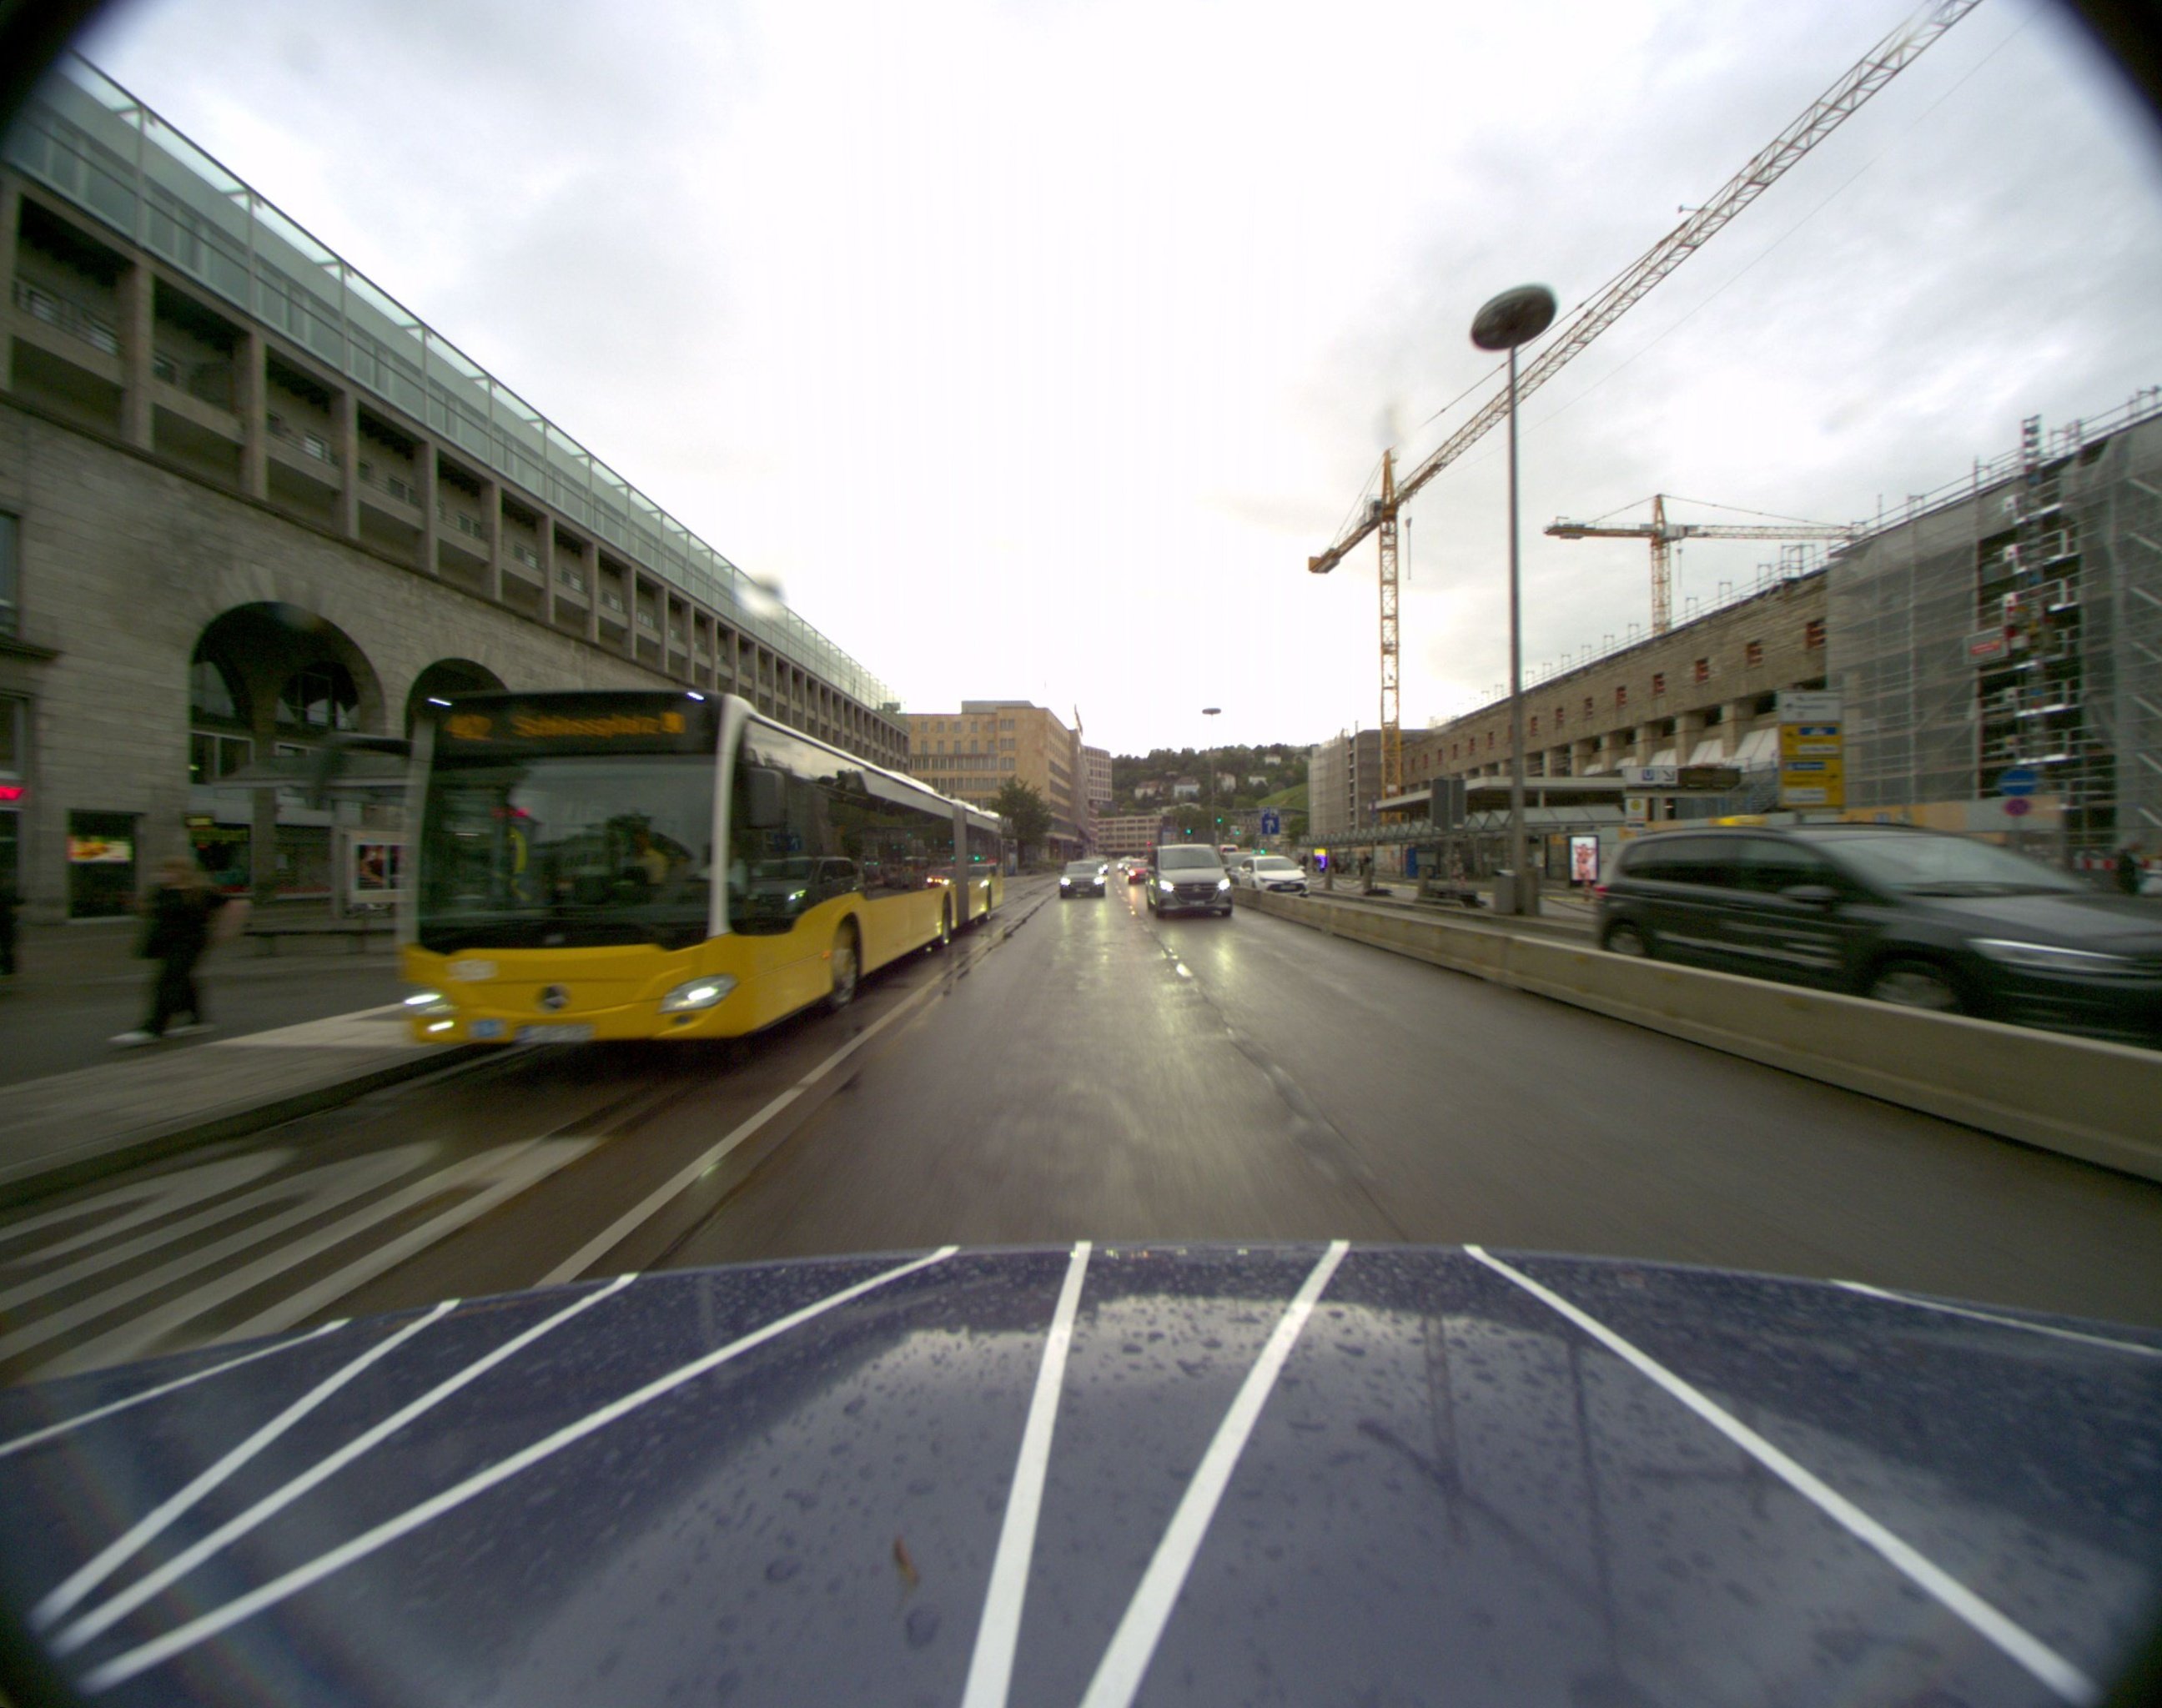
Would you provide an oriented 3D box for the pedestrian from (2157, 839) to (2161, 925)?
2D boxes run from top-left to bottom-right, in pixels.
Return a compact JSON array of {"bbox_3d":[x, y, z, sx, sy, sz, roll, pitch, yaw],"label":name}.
[{"bbox_3d":[23.190,0.600,16.018,0.339,1.830,0.510,-1,0,18],"label":"pedestrian"}]

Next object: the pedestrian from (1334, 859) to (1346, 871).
[{"bbox_3d":[24.146,1.001,70.892,0.846,1.086,0.926,-1,0,1],"label":"pedestrian"}]

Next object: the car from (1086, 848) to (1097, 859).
[{"bbox_3d":[2.016,-0.115,144.675,1.998,1.873,4.998,-1,0,3],"label":"car"}]

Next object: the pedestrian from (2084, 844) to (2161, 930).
[{"bbox_3d":[22.986,0.713,16.791,0.702,1.830,0.879,-1,0,31],"label":"pedestrian"}]

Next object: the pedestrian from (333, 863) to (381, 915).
[{"bbox_3d":[-23.151,1.102,24.306,0.786,1.580,0.995,0,1,38],"label":"pedestrian"}]

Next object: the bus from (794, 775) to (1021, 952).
[{"bbox_3d":[-3.619,0.156,18.854,3.149,3.229,9.135,-2,0,2],"label":"bus"}]

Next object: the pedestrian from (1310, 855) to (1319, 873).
[{"bbox_3d":[23.403,0.974,76.224,0.557,1.780,0.805,-1,0,-6],"label":"pedestrian"}]

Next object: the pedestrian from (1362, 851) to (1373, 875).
[{"bbox_3d":[22.523,0.713,59.689,0.679,1.837,0.556,-2,1,-42],"label":"pedestrian"}]

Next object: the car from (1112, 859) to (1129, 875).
[{"bbox_3d":[4.720,1.525,90.817,1.872,1.715,3.902,-2,1,2],"label":"car"}]

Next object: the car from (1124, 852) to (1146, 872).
[{"bbox_3d":[5.109,0.754,72.495,1.872,1.747,3.902,-2,1,2],"label":"car"}]

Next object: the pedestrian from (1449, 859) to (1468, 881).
[{"bbox_3d":[22.697,0.973,45.716,0.701,1.318,0.805,-1,0,1],"label":"pedestrian"}]

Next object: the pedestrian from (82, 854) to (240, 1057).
[{"bbox_3d":[-7.702,0.819,6.387,0.595,1.609,0.511,-2,1,-9],"label":"pedestrian"}]

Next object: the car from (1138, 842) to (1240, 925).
[{"bbox_3d":[2.792,0.708,20.839,1.998,1.893,5.250,-2,0,0],"label":"car"}]

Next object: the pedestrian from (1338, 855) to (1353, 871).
[{"bbox_3d":[24.015,0.825,68.874,1.057,1.424,0.831,-1,0,1],"label":"pedestrian"}]

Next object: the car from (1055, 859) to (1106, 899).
[{"bbox_3d":[0.060,1.020,32.702,1.822,1.455,4.701,-3,0,3],"label":"car"}]

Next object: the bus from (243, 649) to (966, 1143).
[{"bbox_3d":[-3.868,0.260,9.677,3.121,3.186,9.241,-2,0,1],"label":"bus"}]

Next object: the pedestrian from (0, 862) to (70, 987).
[{"bbox_3d":[-15.786,1.010,11.069,0.994,1.782,0.787,-1,1,-27],"label":"pedestrian"}]

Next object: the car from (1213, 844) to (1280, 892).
[{"bbox_3d":[6.844,0.554,31.978,1.998,1.851,4.833,-1,0,3],"label":"car"}]

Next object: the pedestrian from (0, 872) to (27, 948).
[{"bbox_3d":[-22.081,1.125,15.348,0.690,1.512,0.589,-1,1,-23],"label":"pedestrian"}]

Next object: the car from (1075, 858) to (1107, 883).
[{"bbox_3d":[0.696,1.041,49.442,1.876,1.499,4.165,-1,0,3],"label":"car"}]

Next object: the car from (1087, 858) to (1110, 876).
[{"bbox_3d":[1.673,1.224,72.415,1.998,1.548,3.909,-1,0,3],"label":"car"}]

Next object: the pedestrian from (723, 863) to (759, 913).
[{"bbox_3d":[-11.661,1.158,26.079,0.750,1.685,0.902,-1,0,5],"label":"pedestrian"}]

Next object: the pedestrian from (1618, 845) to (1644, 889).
[{"bbox_3d":[23.629,0.554,32.667,0.745,1.830,0.703,-1,0,22],"label":"pedestrian"}]

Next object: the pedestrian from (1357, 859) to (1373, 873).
[{"bbox_3d":[23.987,1.023,64.097,0.952,1.151,1.055,-1,0,2],"label":"pedestrian"}]

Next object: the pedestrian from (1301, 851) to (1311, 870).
[{"bbox_3d":[23.018,0.689,77.642,0.761,1.947,0.822,-1,1,0],"label":"pedestrian"}]

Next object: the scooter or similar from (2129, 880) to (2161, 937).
[{"bbox_3d":[21.559,1.066,15.125,0.459,1.060,1.242,-1,0,37],"label":"scooter or similar"}]

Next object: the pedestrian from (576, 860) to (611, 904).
[{"bbox_3d":[-18.344,1.051,28.609,0.795,1.609,0.870,-1,1,-9],"label":"pedestrian"}]

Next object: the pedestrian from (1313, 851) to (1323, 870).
[{"bbox_3d":[23.214,0.637,74.497,0.726,1.780,0.747,-1,0,-4],"label":"pedestrian"}]

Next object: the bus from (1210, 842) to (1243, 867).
[{"bbox_3d":[22.636,0.027,119.299,2.916,3.557,19.083,0,0,5],"label":"bus"}]

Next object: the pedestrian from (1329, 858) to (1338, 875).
[{"bbox_3d":[24.666,1.187,74.161,0.557,1.621,0.805,-1,0,-6],"label":"pedestrian"}]

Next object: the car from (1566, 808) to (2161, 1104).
[{"bbox_3d":[6.639,0.557,6.531,1.998,1.644,4.641,-1,0,0],"label":"car"}]

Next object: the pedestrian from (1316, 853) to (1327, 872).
[{"bbox_3d":[22.508,0.773,71.128,0.776,1.780,0.861,-1,0,9],"label":"pedestrian"}]

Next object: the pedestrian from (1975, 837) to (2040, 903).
[{"bbox_3d":[26.709,0.456,21.921,0.804,1.830,0.868,-1,0,5],"label":"pedestrian"}]

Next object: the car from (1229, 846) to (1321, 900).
[{"bbox_3d":[6.686,0.596,26.710,1.998,1.696,4.832,-1,0,0],"label":"car"}]

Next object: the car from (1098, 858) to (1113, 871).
[{"bbox_3d":[3.178,1.391,98.873,1.763,1.582,3.843,-2,1,4],"label":"car"}]

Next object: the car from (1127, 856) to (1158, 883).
[{"bbox_3d":[3.693,0.908,46.166,1.709,1.485,3.671,-2,1,3],"label":"car"}]
